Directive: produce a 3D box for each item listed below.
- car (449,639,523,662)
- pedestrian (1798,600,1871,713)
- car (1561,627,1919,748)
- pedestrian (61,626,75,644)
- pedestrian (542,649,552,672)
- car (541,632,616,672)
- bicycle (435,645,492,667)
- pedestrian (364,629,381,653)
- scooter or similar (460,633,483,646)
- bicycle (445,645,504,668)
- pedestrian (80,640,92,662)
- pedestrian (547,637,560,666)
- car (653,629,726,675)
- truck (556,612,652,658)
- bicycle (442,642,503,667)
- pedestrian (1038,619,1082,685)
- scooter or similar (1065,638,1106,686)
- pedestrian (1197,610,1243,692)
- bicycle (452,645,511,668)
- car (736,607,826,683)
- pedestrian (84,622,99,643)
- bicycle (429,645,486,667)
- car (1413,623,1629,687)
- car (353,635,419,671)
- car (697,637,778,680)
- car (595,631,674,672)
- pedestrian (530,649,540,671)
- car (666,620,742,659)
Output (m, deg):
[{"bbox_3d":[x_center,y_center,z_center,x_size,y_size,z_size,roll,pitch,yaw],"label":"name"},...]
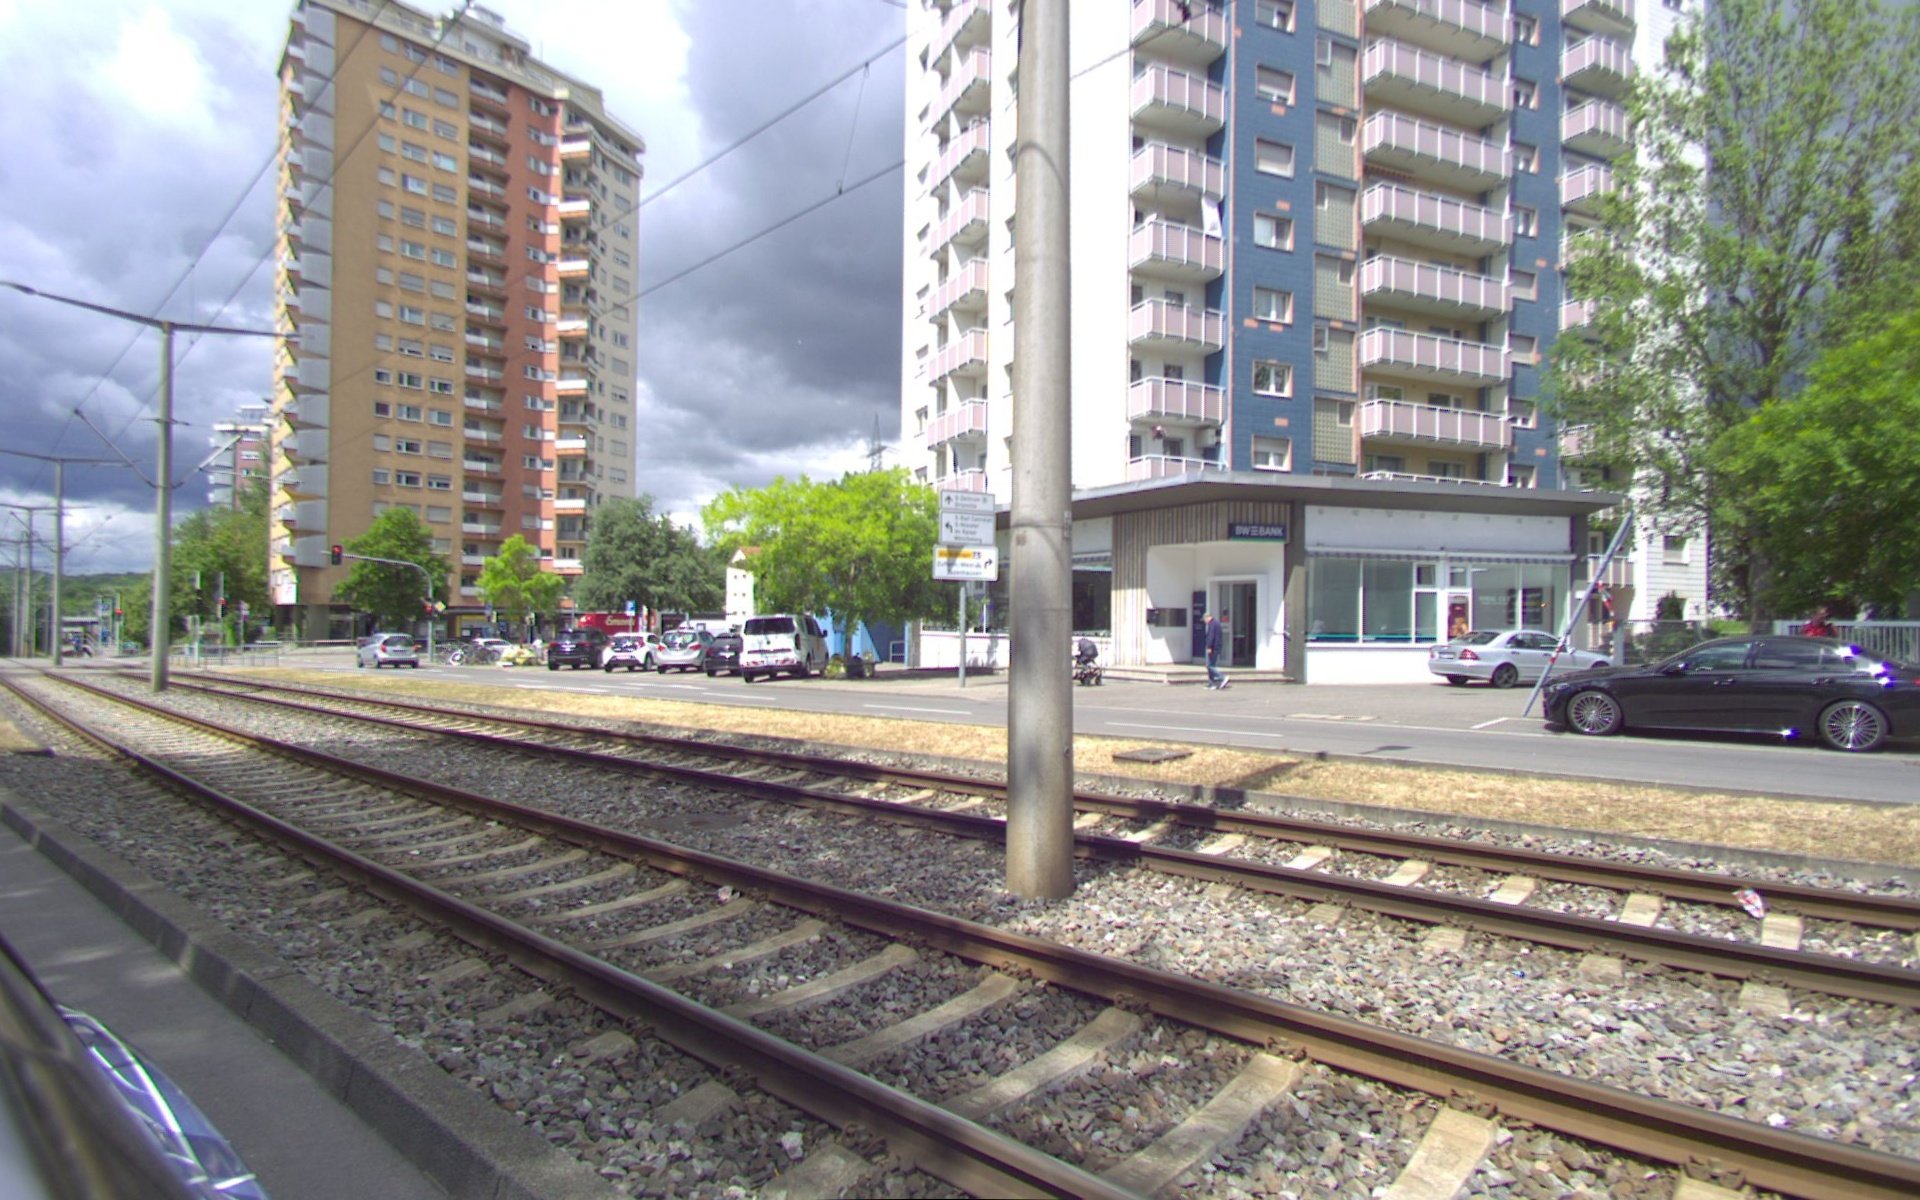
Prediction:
[{"bbox_3d":[-32.169,3.446,68.720,4.211,1.462,1.796,3,-4,-44],"label":"car"},{"bbox_3d":[14.439,0.932,16.716,0.843,1.806,0.604,-3,-4,42],"label":"pedestrian"},{"bbox_3d":[10.954,1.111,13.853,1.714,1.439,4.383,2,-3,-45],"label":"car"},{"bbox_3d":[-84.215,3.292,95.512,0.747,1.618,0.853,-3,-4,44],"label":"pedestrian"},{"bbox_3d":[-27.085,3.981,66.396,0.562,1.483,0.528,1,-3,-20],"label":"pedestrian"},{"bbox_3d":[-16.080,2.219,42.912,1.903,1.604,4.003,0,-3,-4],"label":"car"},{"bbox_3d":[-24.327,2.746,49.589,0.705,1.074,2.400,-3,-4,43],"label":"bicycle"},{"bbox_3d":[-47.302,3.307,81.448,0.853,1.949,0.908,-3,-4,44],"label":"pedestrian"},{"bbox_3d":[-42.798,3.439,88.622,0.545,1.102,1.729,-2,-4,40],"label":"scooter or similar"},{"bbox_3d":[-23.234,2.690,48.468,0.705,1.074,2.400,-3,-4,43],"label":"bicycle"},{"bbox_3d":[-80.975,4.727,93.764,0.573,1.946,0.760,-3,-4,42],"label":"pedestrian"},{"bbox_3d":[-23.365,2.954,58.201,0.600,1.656,0.412,-3,-4,41],"label":"pedestrian"},{"bbox_3d":[-10.183,1.969,38.331,1.878,1.644,4.002,0,-3,-3],"label":"car"},{"bbox_3d":[-29.537,2.985,84.180,6.988,3.703,2.550,3,-4,-40],"label":"truck"},{"bbox_3d":[-22.199,2.487,46.141,0.717,1.042,2.400,-3,-2,43],"label":"bicycle"},{"bbox_3d":[2.455,1.282,24.909,0.507,1.583,0.988,0,-3,-37],"label":"pedestrian"},{"bbox_3d":[3.004,1.478,24.194,0.571,1.133,0.771,1,-3,-37],"label":"scooter or similar"},{"bbox_3d":[5.884,1.156,22.885,0.869,1.806,0.836,-1,-4,24],"label":"pedestrian"},{"bbox_3d":[-22.655,2.665,47.953,0.705,1.074,2.400,-3,-4,43],"label":"bicycle"},{"bbox_3d":[-5.453,1.423,31.429,1.880,2.173,4.759,0,-3,1],"label":"car"},{"bbox_3d":[-76.029,2.877,88.618,0.747,1.787,0.853,-3,-4,44],"label":"pedestrian"},{"bbox_3d":[-24.898,2.774,50.148,0.705,1.074,2.400,-3,-4,43],"label":"bicycle"},{"bbox_3d":[13.600,1.347,24.653,4.284,1.454,2.005,1,-3,-12],"label":"car"},{"bbox_3d":[-26.431,2.440,46.563,1.797,1.544,3.758,3,-4,-43],"label":"car"},{"bbox_3d":[-7.648,2.038,35.186,1.880,1.394,3.998,0,-3,1],"label":"car"},{"bbox_3d":[-12.712,2.028,39.771,1.724,1.508,3.763,0,-3,3],"label":"car"},{"bbox_3d":[-27.745,3.916,66.037,0.510,1.483,0.528,1,-3,-20],"label":"pedestrian"},{"bbox_3d":[-22.629,3.512,89.502,6.203,3.324,2.004,3,-4,-38],"label":"car"}]
